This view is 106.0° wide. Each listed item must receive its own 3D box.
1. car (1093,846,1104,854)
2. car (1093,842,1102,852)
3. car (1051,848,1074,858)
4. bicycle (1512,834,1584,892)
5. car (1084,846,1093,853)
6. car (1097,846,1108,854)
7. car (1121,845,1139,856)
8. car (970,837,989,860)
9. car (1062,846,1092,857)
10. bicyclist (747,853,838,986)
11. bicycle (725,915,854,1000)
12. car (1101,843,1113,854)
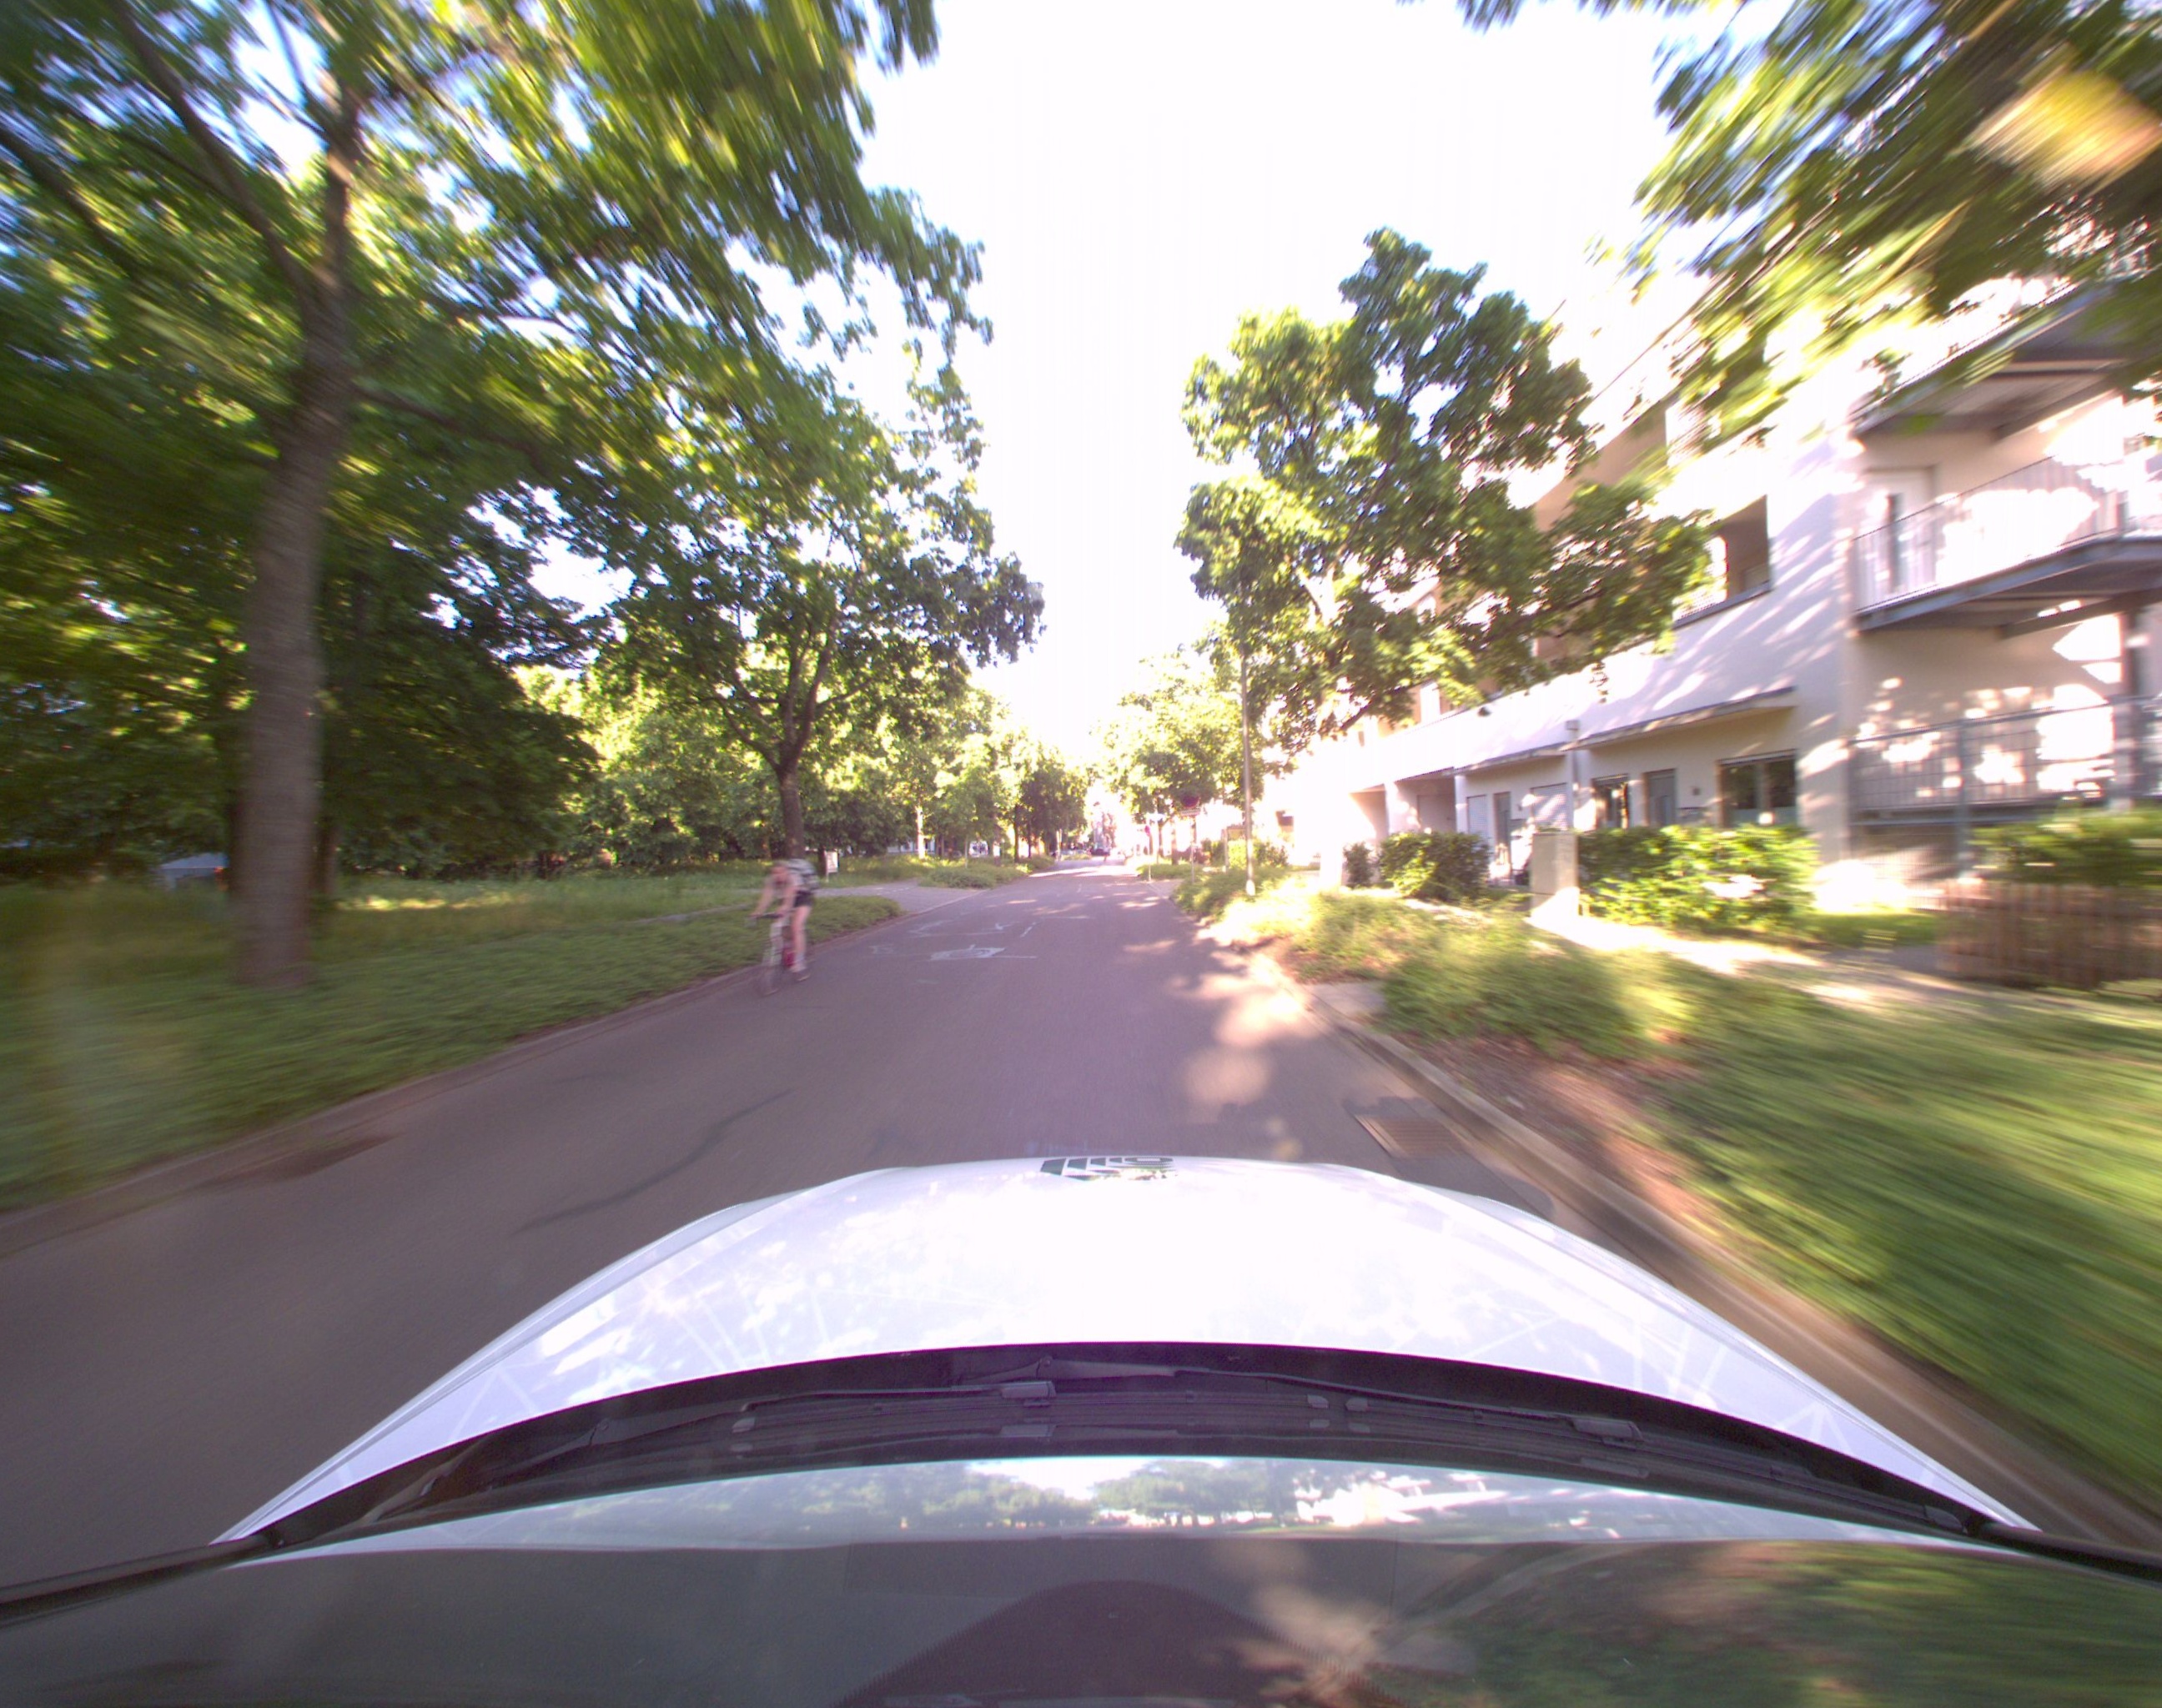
[{"bbox_3d":[3.414,-0.821,159.925,1.806,1.501,3.997,-1,1,-2],"label":"car"},{"bbox_3d":[3.456,-1.537,170.128,1.806,2.050,3.997,-1,1,-2],"label":"car"},{"bbox_3d":[-2.875,-0.131,126.779,3.583,1.510,1.497,-1,0,-7],"label":"car"},{"bbox_3d":[10.200,0.187,17.852,0.615,1.191,1.754,-1,0,1],"label":"bicycle"},{"bbox_3d":[1.686,-0.970,187.142,1.806,1.501,3.997,-1,1,-2],"label":"car"},{"bbox_3d":[4.075,-0.795,153.374,1.806,1.501,3.997,-1,1,-2],"label":"car"},{"bbox_3d":[6.974,-0.535,116.514,1.809,1.501,3.992,-2,1,-6],"label":"car"},{"bbox_3d":[-11.623,-0.607,93.333,1.992,2.508,3.990,-1,0,-7],"label":"car"},{"bbox_3d":[-0.541,-0.363,114.337,3.983,1.501,1.813,-1,0,-7],"label":"car"},{"bbox_3d":[-3.628,0.793,10.316,0.630,1.554,1.004,-3,0,5],"label":"bicyclist"},{"bbox_3d":[-3.606,1.254,10.294,0.636,0.742,2.129,-3,0,6],"label":"bicycle"},{"bbox_3d":[4.665,-0.955,145.221,1.806,1.925,3.997,-1,1,-2],"label":"car"}]
